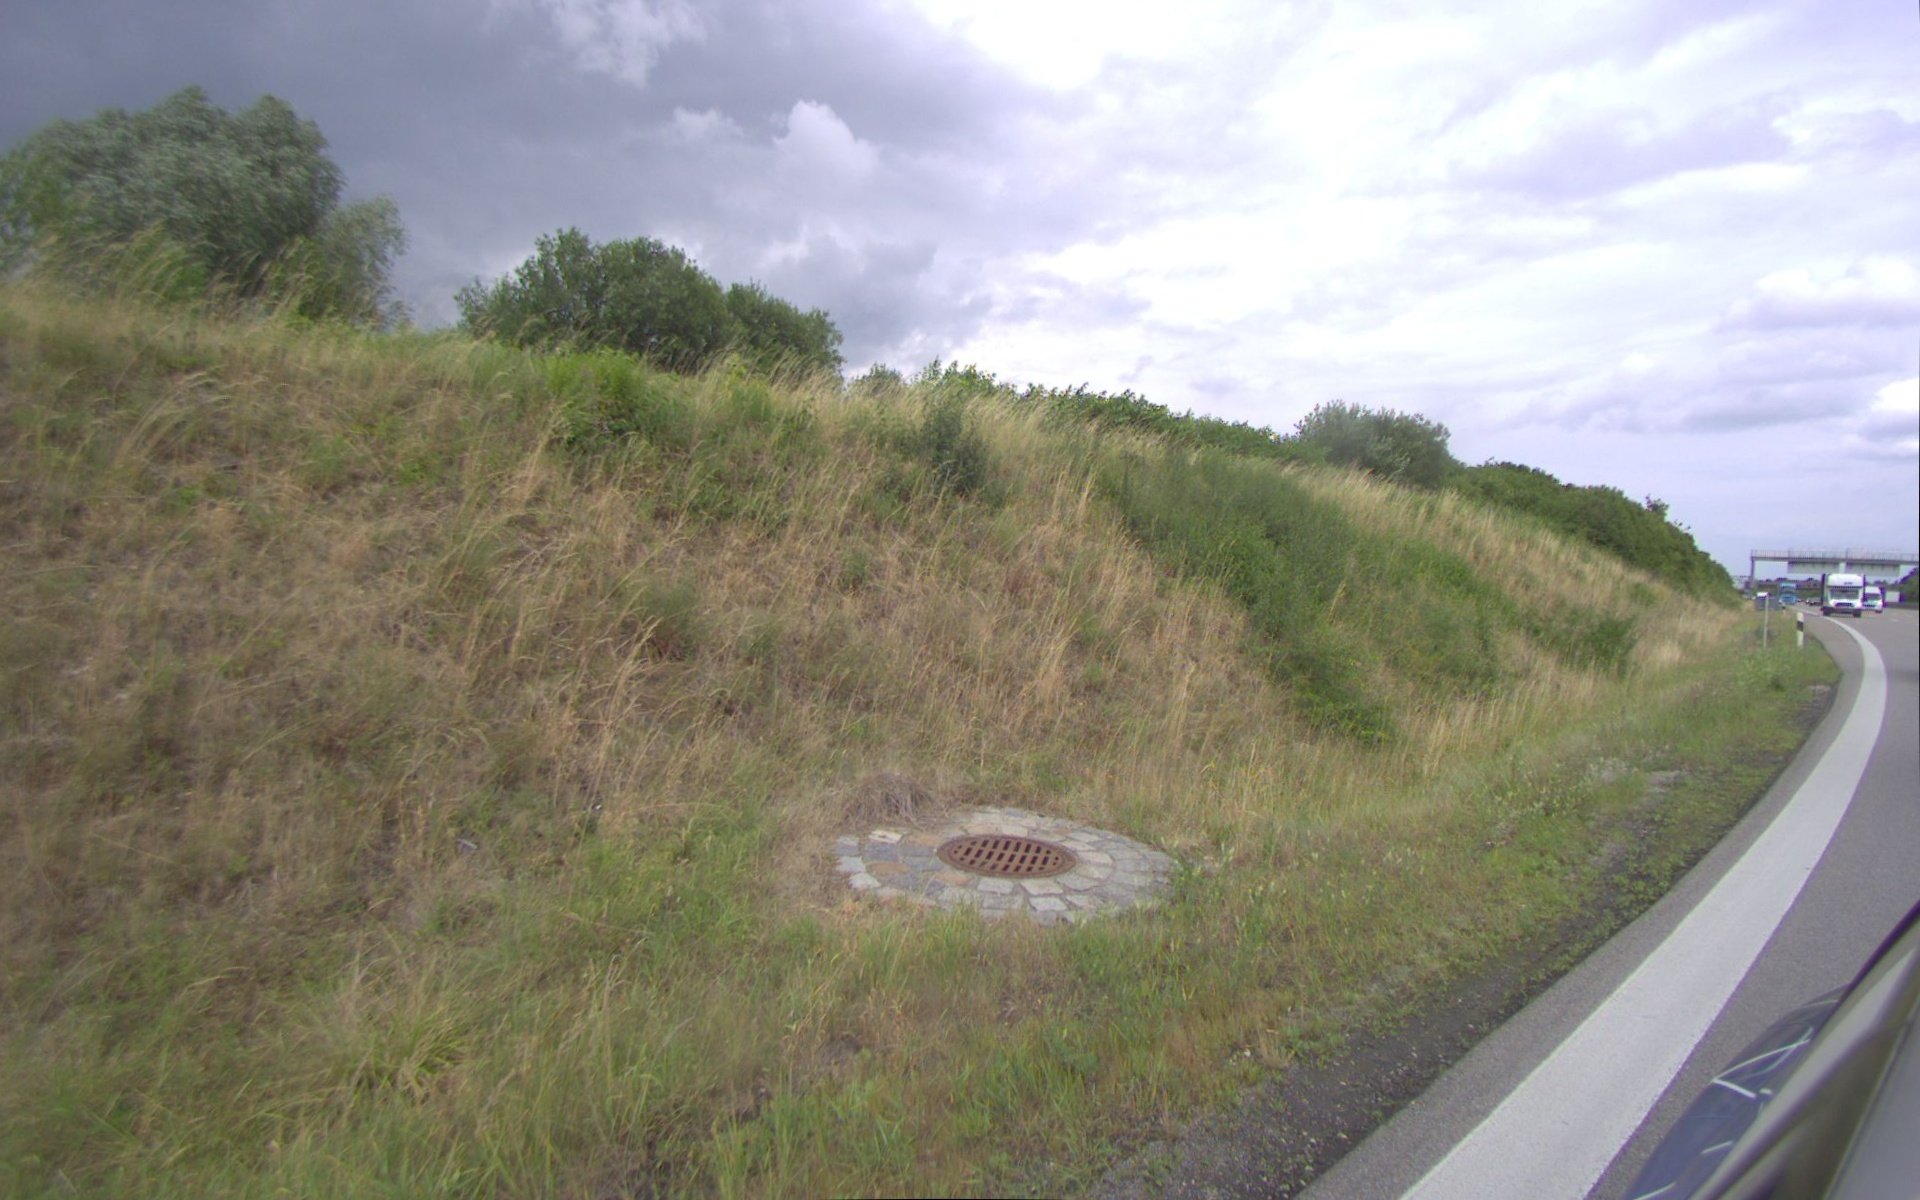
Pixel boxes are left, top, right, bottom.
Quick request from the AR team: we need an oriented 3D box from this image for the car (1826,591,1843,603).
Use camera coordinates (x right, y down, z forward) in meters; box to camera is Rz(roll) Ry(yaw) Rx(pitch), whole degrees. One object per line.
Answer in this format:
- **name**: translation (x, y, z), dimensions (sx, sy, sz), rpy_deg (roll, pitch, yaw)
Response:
- **car**: translation (147.344, -0.542, 170.488), dimensions (1.991, 2.038, 3.943), rpy_deg (2, 2, 39)

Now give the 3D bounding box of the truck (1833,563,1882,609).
- **truck**: translation (67.014, -1.046, 75.655), dimensions (2.439, 3.275, 7.088), rpy_deg (2, 2, 40)

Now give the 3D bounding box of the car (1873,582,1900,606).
- **car**: translation (95.020, -0.666, 103.795), dimensions (1.992, 2.425, 3.940), rpy_deg (0, 1, 42)

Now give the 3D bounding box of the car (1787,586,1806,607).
- **car**: translation (158.656, -0.735, 191.985), dimensions (2.494, 3.757, 7.593), rpy_deg (2, 2, 39)
